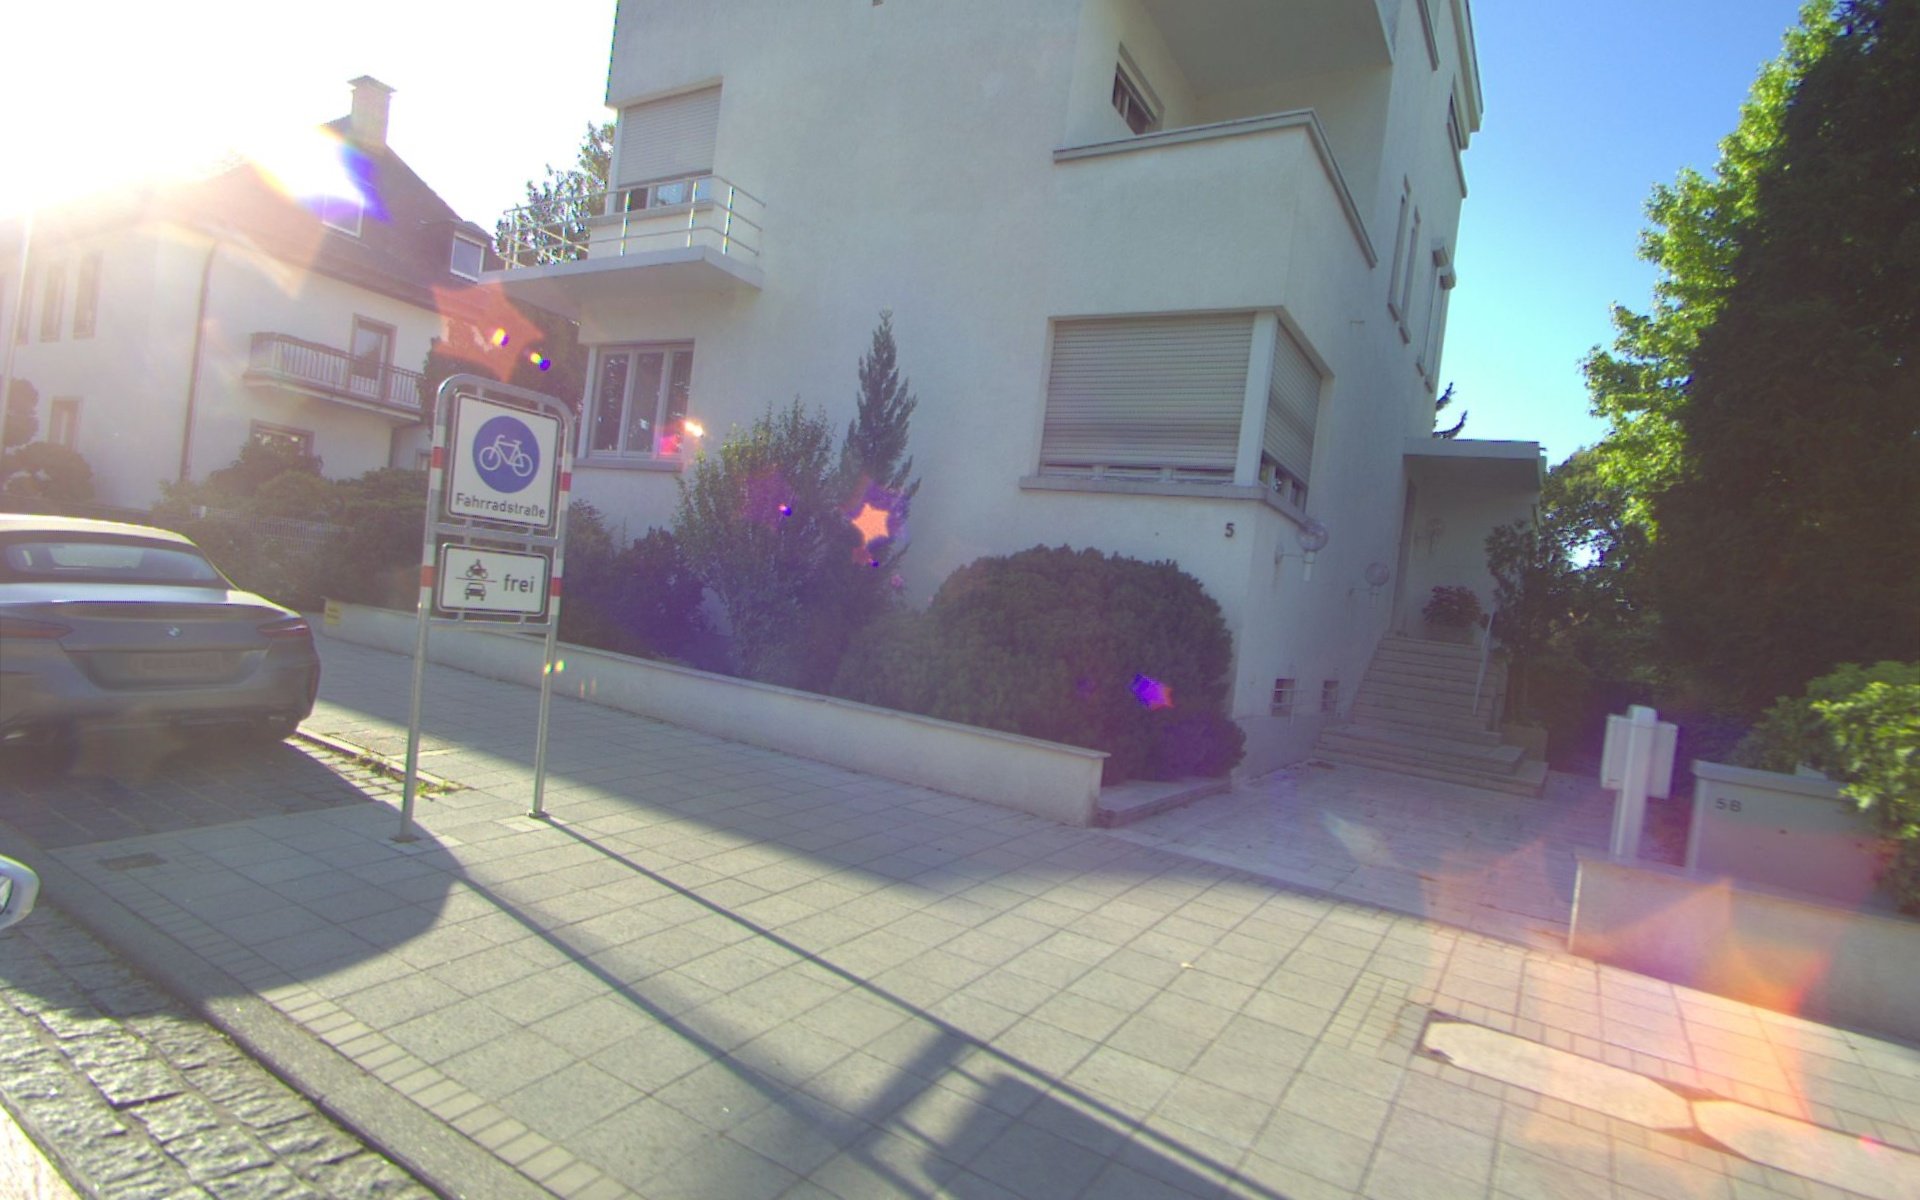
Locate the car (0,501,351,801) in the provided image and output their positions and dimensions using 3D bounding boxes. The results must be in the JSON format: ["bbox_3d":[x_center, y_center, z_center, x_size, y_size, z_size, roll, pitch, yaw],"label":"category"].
[{"bbox_3d":[-5.922,0.102,6.426,4.202,1.305,1.775,8,2,33],"label":"car"}]
